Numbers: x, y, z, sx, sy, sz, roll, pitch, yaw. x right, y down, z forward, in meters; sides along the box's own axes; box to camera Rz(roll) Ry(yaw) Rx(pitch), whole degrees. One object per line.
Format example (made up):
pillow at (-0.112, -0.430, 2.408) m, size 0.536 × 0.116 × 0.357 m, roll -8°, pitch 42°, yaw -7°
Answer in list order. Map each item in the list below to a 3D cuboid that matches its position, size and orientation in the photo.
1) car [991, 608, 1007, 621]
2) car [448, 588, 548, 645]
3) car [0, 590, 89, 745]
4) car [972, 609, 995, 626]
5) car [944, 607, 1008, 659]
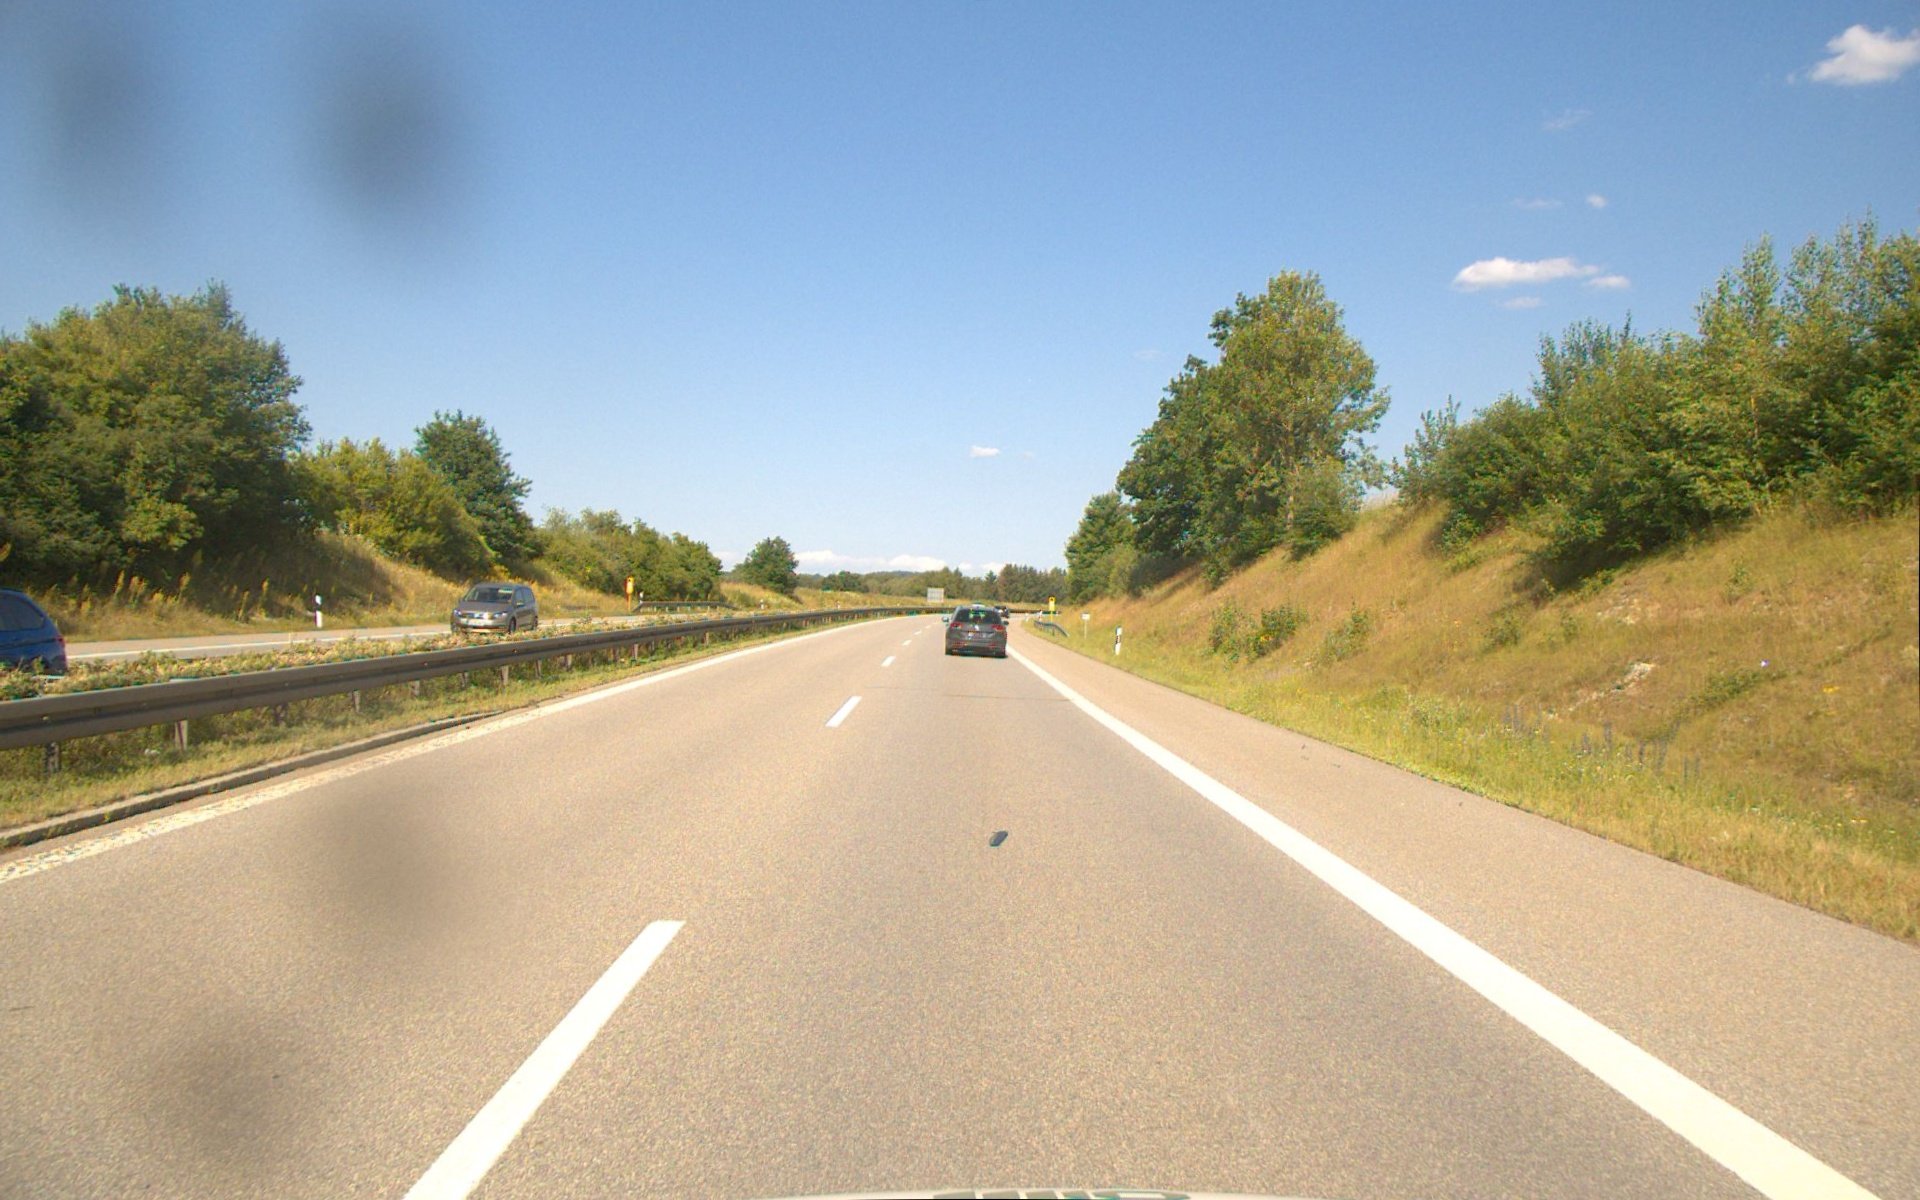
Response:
car at (4.608, 1.748, 196.311) m, size 1.676 × 1.411 × 3.354 m, roll 5°, pitch -1°, yaw -2°
car at (-14.116, 0.496, 50.824) m, size 1.732 × 1.612 × 4.791 m, roll 2°, pitch 0°, yaw -1°
car at (-10.299, 0.666, 15.820) m, size 1.731 × 1.520 × 4.228 m, roll 0°, pitch 0°, yaw -1°
car at (2.136, 1.628, 150.463) m, size 1.967 × 1.368 × 3.999 m, roll 5°, pitch -1°, yaw 0°
car at (0.423, 0.935, 48.407) m, size 1.754 × 1.368 × 3.999 m, roll 2°, pitch 0°, yaw -1°
